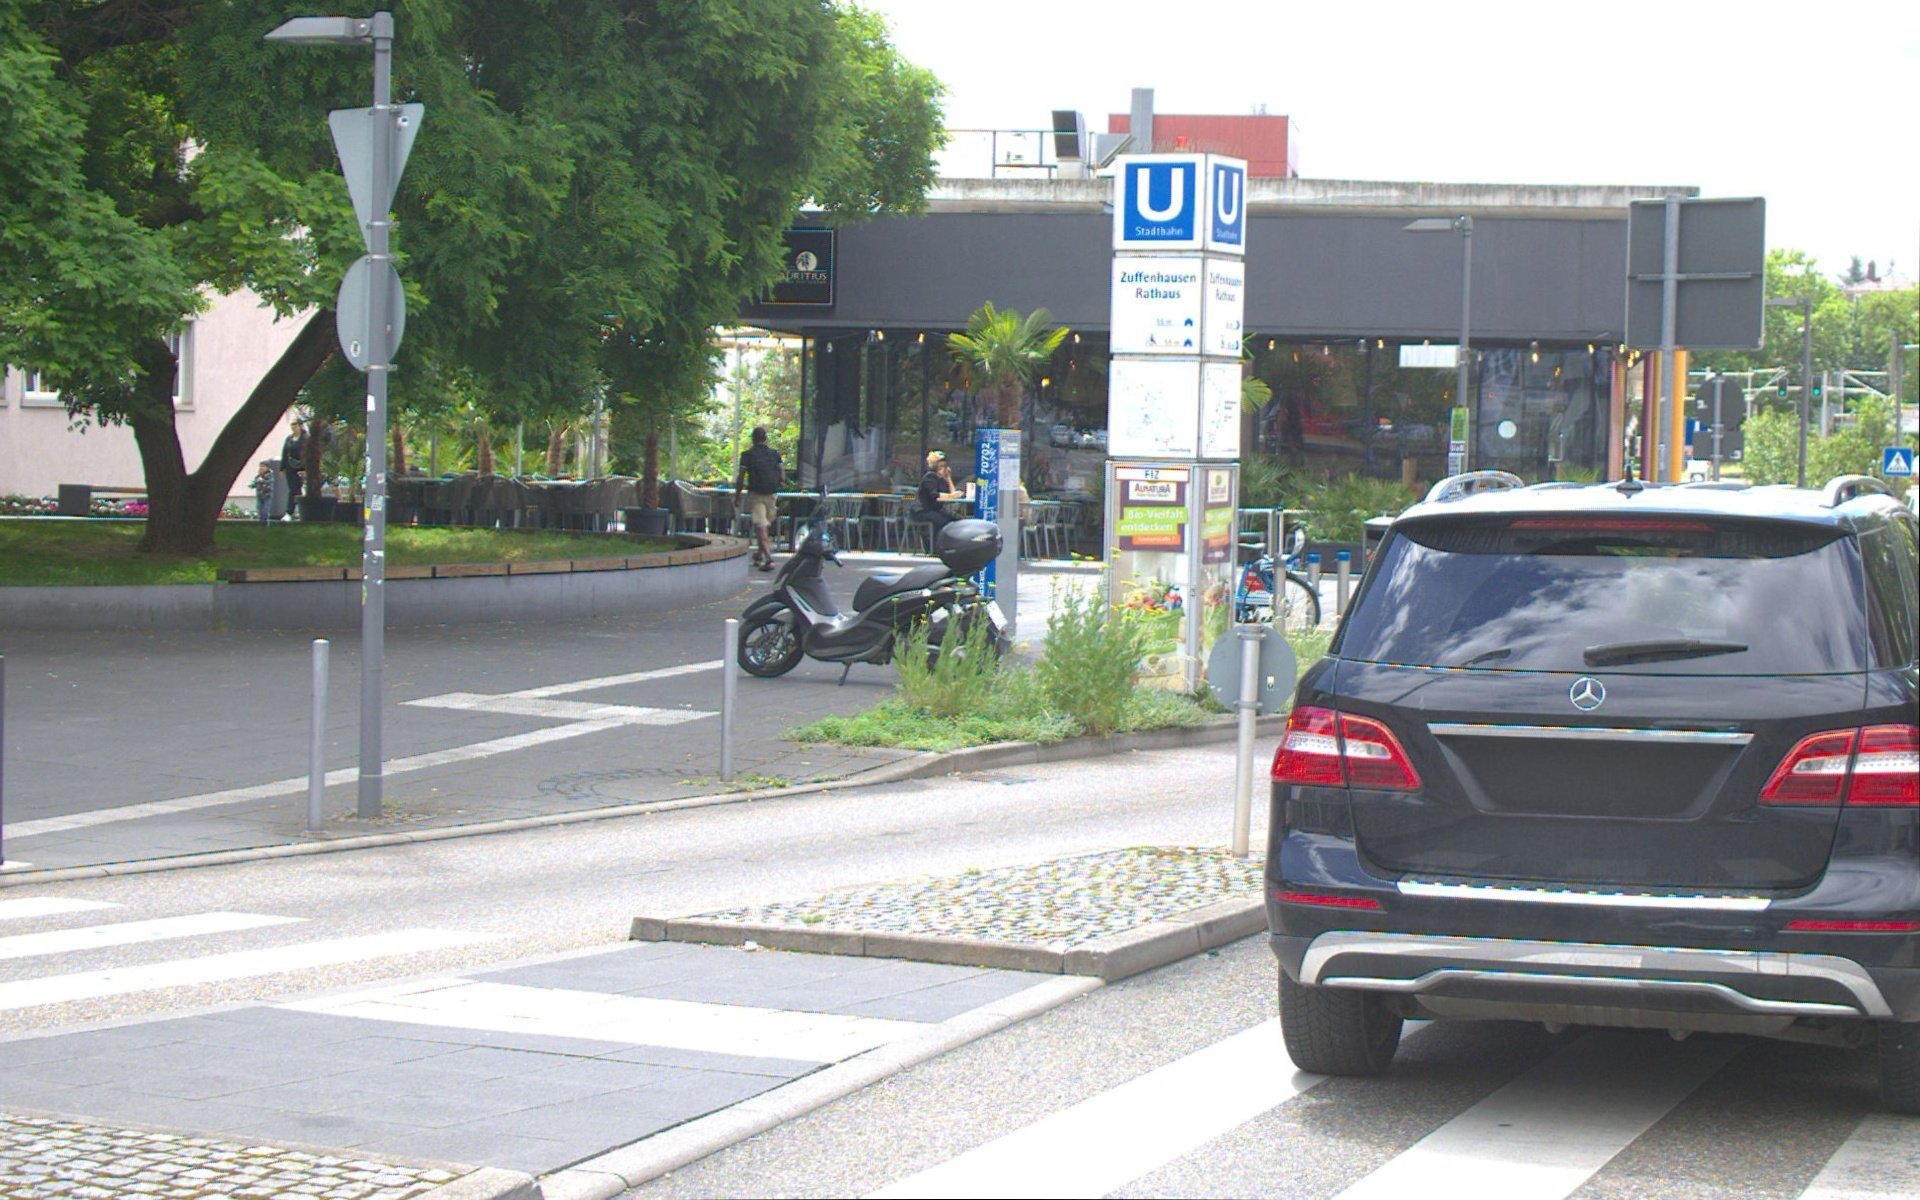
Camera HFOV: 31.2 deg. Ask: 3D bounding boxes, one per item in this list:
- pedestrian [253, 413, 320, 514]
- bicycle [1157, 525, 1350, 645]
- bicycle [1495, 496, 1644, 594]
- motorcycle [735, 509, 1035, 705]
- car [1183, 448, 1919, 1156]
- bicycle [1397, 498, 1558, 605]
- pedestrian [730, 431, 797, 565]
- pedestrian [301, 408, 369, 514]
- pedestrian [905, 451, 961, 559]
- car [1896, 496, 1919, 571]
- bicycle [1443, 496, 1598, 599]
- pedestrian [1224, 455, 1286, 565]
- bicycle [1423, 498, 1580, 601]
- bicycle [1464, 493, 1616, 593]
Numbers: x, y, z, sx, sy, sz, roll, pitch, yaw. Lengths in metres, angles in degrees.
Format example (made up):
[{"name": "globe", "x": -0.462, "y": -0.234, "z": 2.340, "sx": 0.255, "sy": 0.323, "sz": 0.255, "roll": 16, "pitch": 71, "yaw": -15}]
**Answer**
[{"name": "pedestrian", "x": -10.638, "y": -2.161, "z": 54.326, "sx": 0.787, "sy": 1.571, "sz": 0.636, "roll": 2, "pitch": 1, "yaw": 23}, {"name": "bicycle", "x": 2.598, "y": -0.140, "z": 30.475, "sx": 1.614, "sy": 0.994, "sz": 0.499, "roll": 2, "pitch": 1, "yaw": 30}, {"name": "bicycle", "x": 7.050, "y": -0.641, "z": 39.794, "sx": 1.570, "sy": 1.087, "sz": 0.577, "roll": 2, "pitch": 1, "yaw": 24}, {"name": "motorcycle", "x": -0.563, "y": 0.033, "z": 25.251, "sx": 2.135, "sy": 1.284, "sz": 0.582, "roll": 4, "pitch": 4, "yaw": 26}, {"name": "car", "x": 2.241, "y": 0.460, "z": 10.770, "sx": 2.029, "sy": 1.721, "sz": 4.429, "roll": 1, "pitch": 1, "yaw": 18}, {"name": "bicycle", "x": 5.526, "y": -0.525, "z": 36.717, "sx": 1.570, "sy": 1.087, "sz": 0.577, "roll": 2, "pitch": 1, "yaw": 24}, {"name": "pedestrian", "x": -2.340, "y": -1.209, "z": 40.951, "sx": 0.614, "sy": 1.571, "sz": 0.582, "roll": 2, "pitch": 1, "yaw": 14}, {"name": "pedestrian", "x": -9.658, "y": -2.144, "z": 53.128, "sx": 0.787, "sy": 1.622, "sz": 0.636, "roll": 2, "pitch": 1, "yaw": 23}, {"name": "pedestrian", "x": -0.348, "y": -1.224, "z": 44.448, "sx": 0.581, "sy": 1.375, "sz": 0.616, "roll": 1, "pitch": 1, "yaw": 11}, {"name": "car", "x": 25.101, "y": -1.669, "z": 87.824, "sx": 1.841, "sy": 1.851, "sz": 4.495, "roll": 4, "pitch": 2, "yaw": 11}, {"name": "bicycle", "x": 6.220, "y": -0.588, "z": 38.180, "sx": 1.570, "sy": 1.087, "sz": 0.577, "roll": 2, "pitch": 1, "yaw": 24}, {"name": "pedestrian", "x": 3.972, "y": -1.209, "z": 46.299, "sx": 0.582, "sy": 1.458, "sz": 0.615, "roll": 2, "pitch": 1, "yaw": 32}, {"name": "bicycle", "x": 5.889, "y": -0.553, "z": 37.396, "sx": 1.570, "sy": 1.065, "sz": 0.538, "roll": 2, "pitch": 1, "yaw": 24}, {"name": "bicycle", "x": 6.573, "y": -0.649, "z": 38.989, "sx": 1.570, "sy": 1.087, "sz": 0.577, "roll": 2, "pitch": 1, "yaw": 24}]
